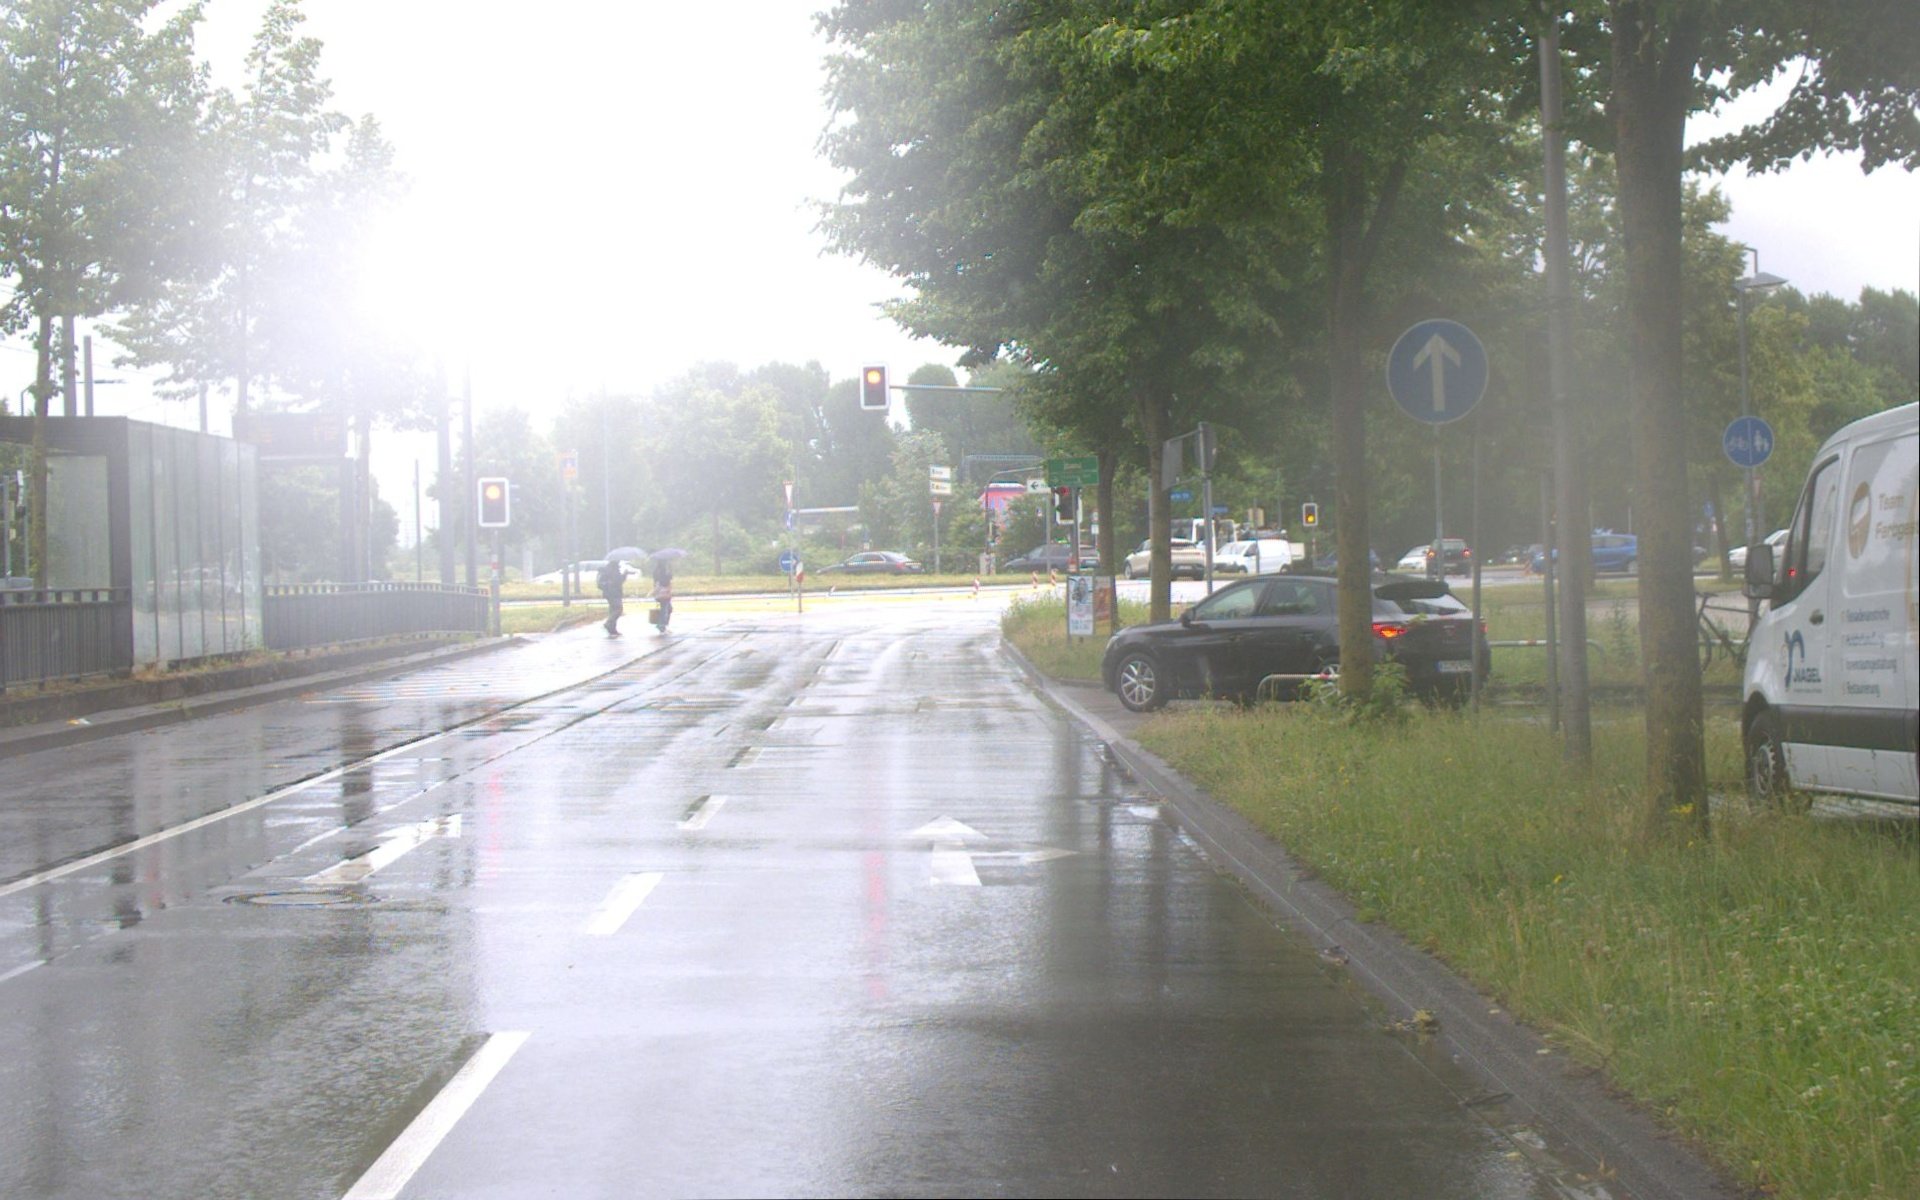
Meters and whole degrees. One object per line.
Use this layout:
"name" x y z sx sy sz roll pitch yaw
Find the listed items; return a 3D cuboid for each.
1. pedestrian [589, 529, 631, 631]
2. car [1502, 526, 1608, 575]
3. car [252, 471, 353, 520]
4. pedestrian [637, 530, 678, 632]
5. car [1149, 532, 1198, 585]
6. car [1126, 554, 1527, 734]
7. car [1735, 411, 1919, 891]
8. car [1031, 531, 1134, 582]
"pedestrian" -6.999 -0.404 68.758 0.697 2.006 0.656 -2 3 -1
"car" 21.743 -1.808 125.654 3.450 1.694 1.626 0 3 30
"car" -29.479 -4.704 154.342 1.995 2.006 5.217 -1 3 19
"pedestrian" -6.130 -0.388 69.628 0.697 2.006 0.656 -2 3 -1
"car" 7.597 -1.505 122.348 1.623 1.694 3.456 -2 3 3
"car" 3.589 0.381 34.279 1.815 1.539 4.000 -4 4 -33
"car" 5.557 0.195 17.377 2.121 2.266 4.565 -2 1 -1
"car" 4.633 -1.653 130.494 3.450 1.831 1.714 0 3 30
